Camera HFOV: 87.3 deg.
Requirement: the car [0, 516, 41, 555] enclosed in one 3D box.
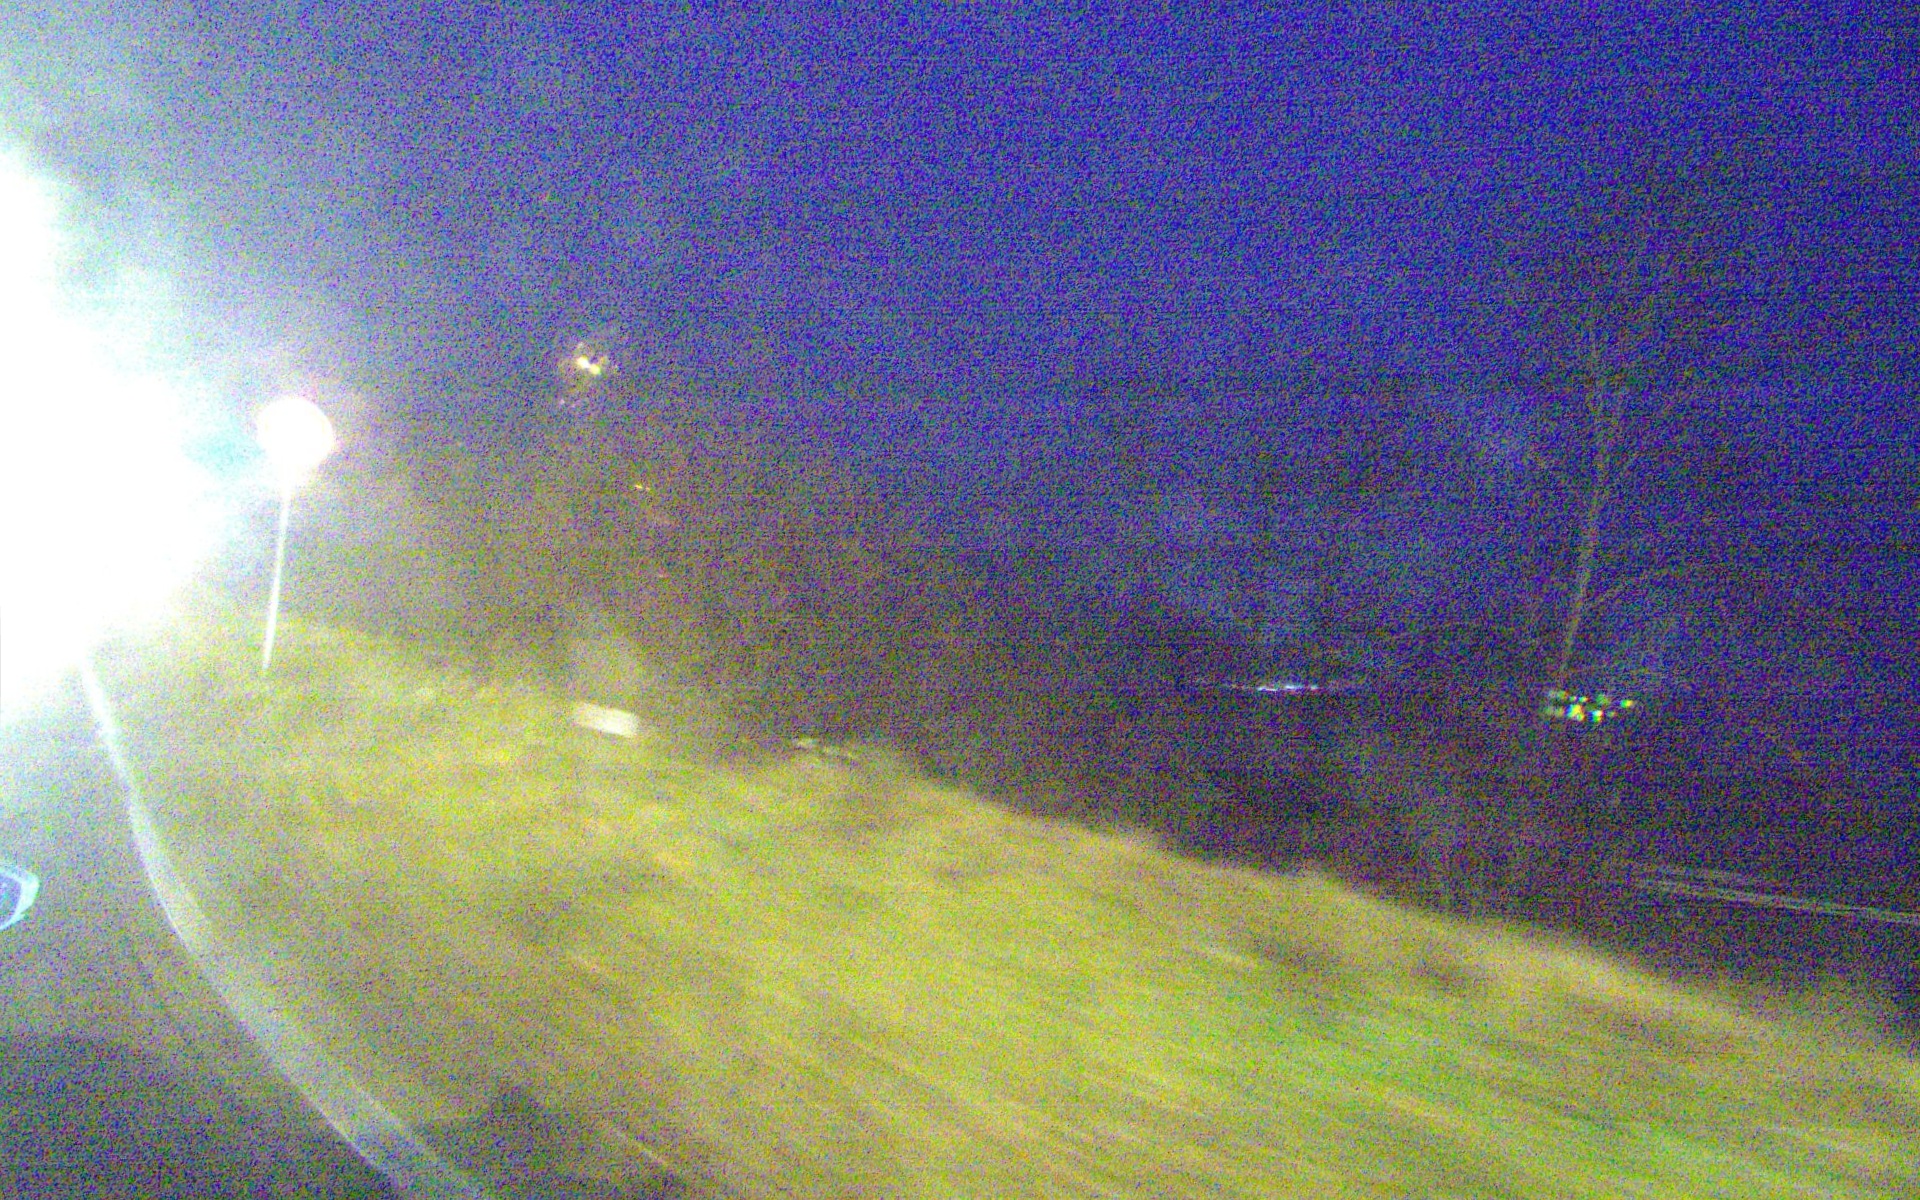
[{"bbox_3d":[-51.126,-3.498,54.227,1.906,1.615,3.961,15,-9,-38],"label":"car"}]
